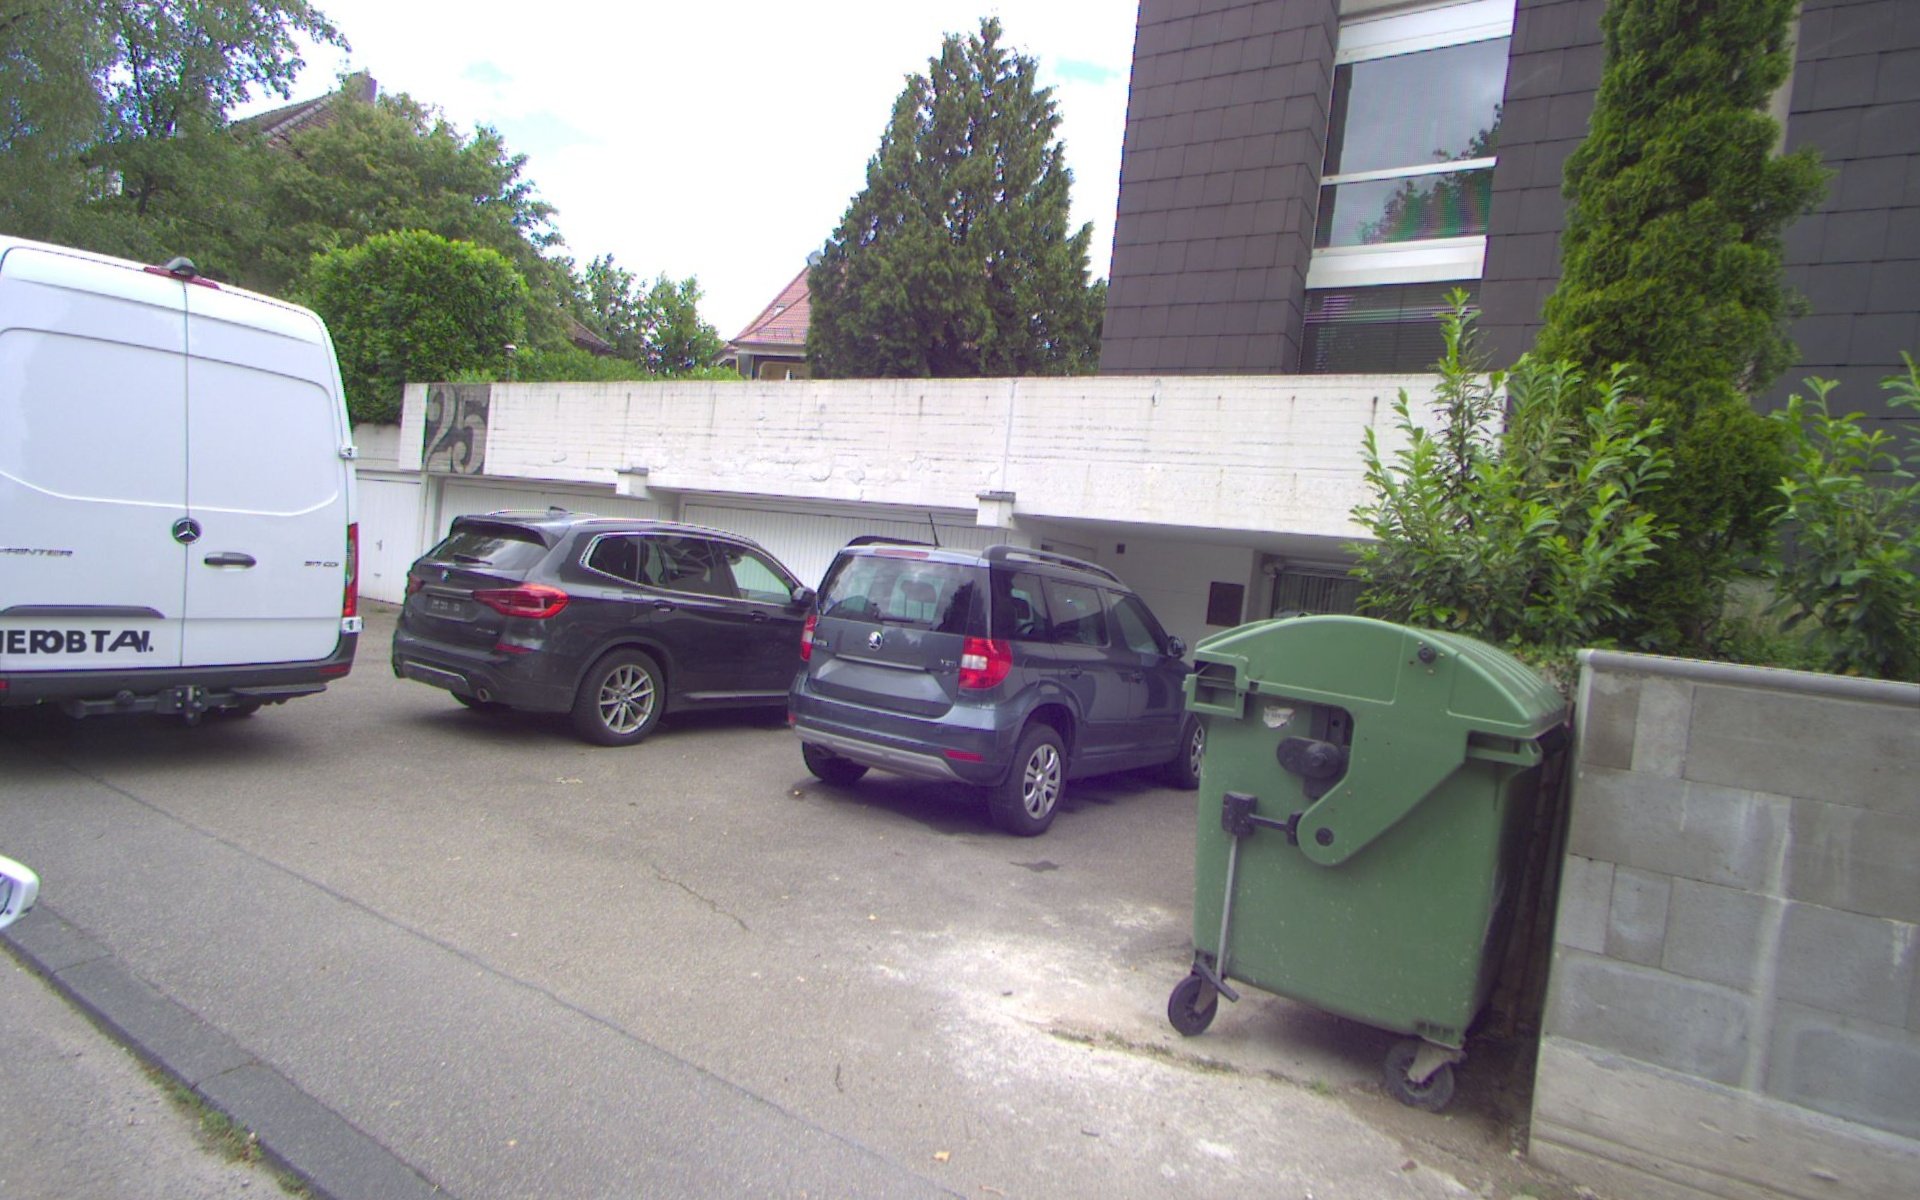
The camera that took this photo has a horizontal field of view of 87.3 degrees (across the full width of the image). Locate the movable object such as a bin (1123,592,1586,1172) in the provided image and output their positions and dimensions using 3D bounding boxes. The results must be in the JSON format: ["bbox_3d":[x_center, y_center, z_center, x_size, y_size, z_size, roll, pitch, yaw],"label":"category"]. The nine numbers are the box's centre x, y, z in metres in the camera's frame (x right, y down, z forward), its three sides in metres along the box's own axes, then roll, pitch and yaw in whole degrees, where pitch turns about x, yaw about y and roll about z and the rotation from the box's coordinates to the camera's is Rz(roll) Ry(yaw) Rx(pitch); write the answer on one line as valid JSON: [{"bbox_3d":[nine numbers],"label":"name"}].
[{"bbox_3d":[1.430,0.779,3.545,1.161,1.470,1.300,7,2,31],"label":"movable object such as a bin"}]

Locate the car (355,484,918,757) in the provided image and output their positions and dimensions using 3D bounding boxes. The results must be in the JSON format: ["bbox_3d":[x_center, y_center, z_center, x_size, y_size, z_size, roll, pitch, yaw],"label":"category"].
[{"bbox_3d":[-2.429,0.167,8.702,1.800,1.674,4.394,7,2,33],"label":"car"}]

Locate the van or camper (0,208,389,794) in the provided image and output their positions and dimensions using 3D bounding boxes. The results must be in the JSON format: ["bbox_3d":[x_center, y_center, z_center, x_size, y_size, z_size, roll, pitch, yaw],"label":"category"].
[{"bbox_3d":[-6.660,-0.721,6.832,6.252,2.664,1.963,7,4,31],"label":"van or camper"}]

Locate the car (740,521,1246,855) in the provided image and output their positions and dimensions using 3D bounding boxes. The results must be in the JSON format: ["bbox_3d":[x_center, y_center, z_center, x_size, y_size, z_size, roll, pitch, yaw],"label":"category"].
[{"bbox_3d":[0.494,0.514,7.372,1.801,1.674,3.796,7,2,35],"label":"car"}]
